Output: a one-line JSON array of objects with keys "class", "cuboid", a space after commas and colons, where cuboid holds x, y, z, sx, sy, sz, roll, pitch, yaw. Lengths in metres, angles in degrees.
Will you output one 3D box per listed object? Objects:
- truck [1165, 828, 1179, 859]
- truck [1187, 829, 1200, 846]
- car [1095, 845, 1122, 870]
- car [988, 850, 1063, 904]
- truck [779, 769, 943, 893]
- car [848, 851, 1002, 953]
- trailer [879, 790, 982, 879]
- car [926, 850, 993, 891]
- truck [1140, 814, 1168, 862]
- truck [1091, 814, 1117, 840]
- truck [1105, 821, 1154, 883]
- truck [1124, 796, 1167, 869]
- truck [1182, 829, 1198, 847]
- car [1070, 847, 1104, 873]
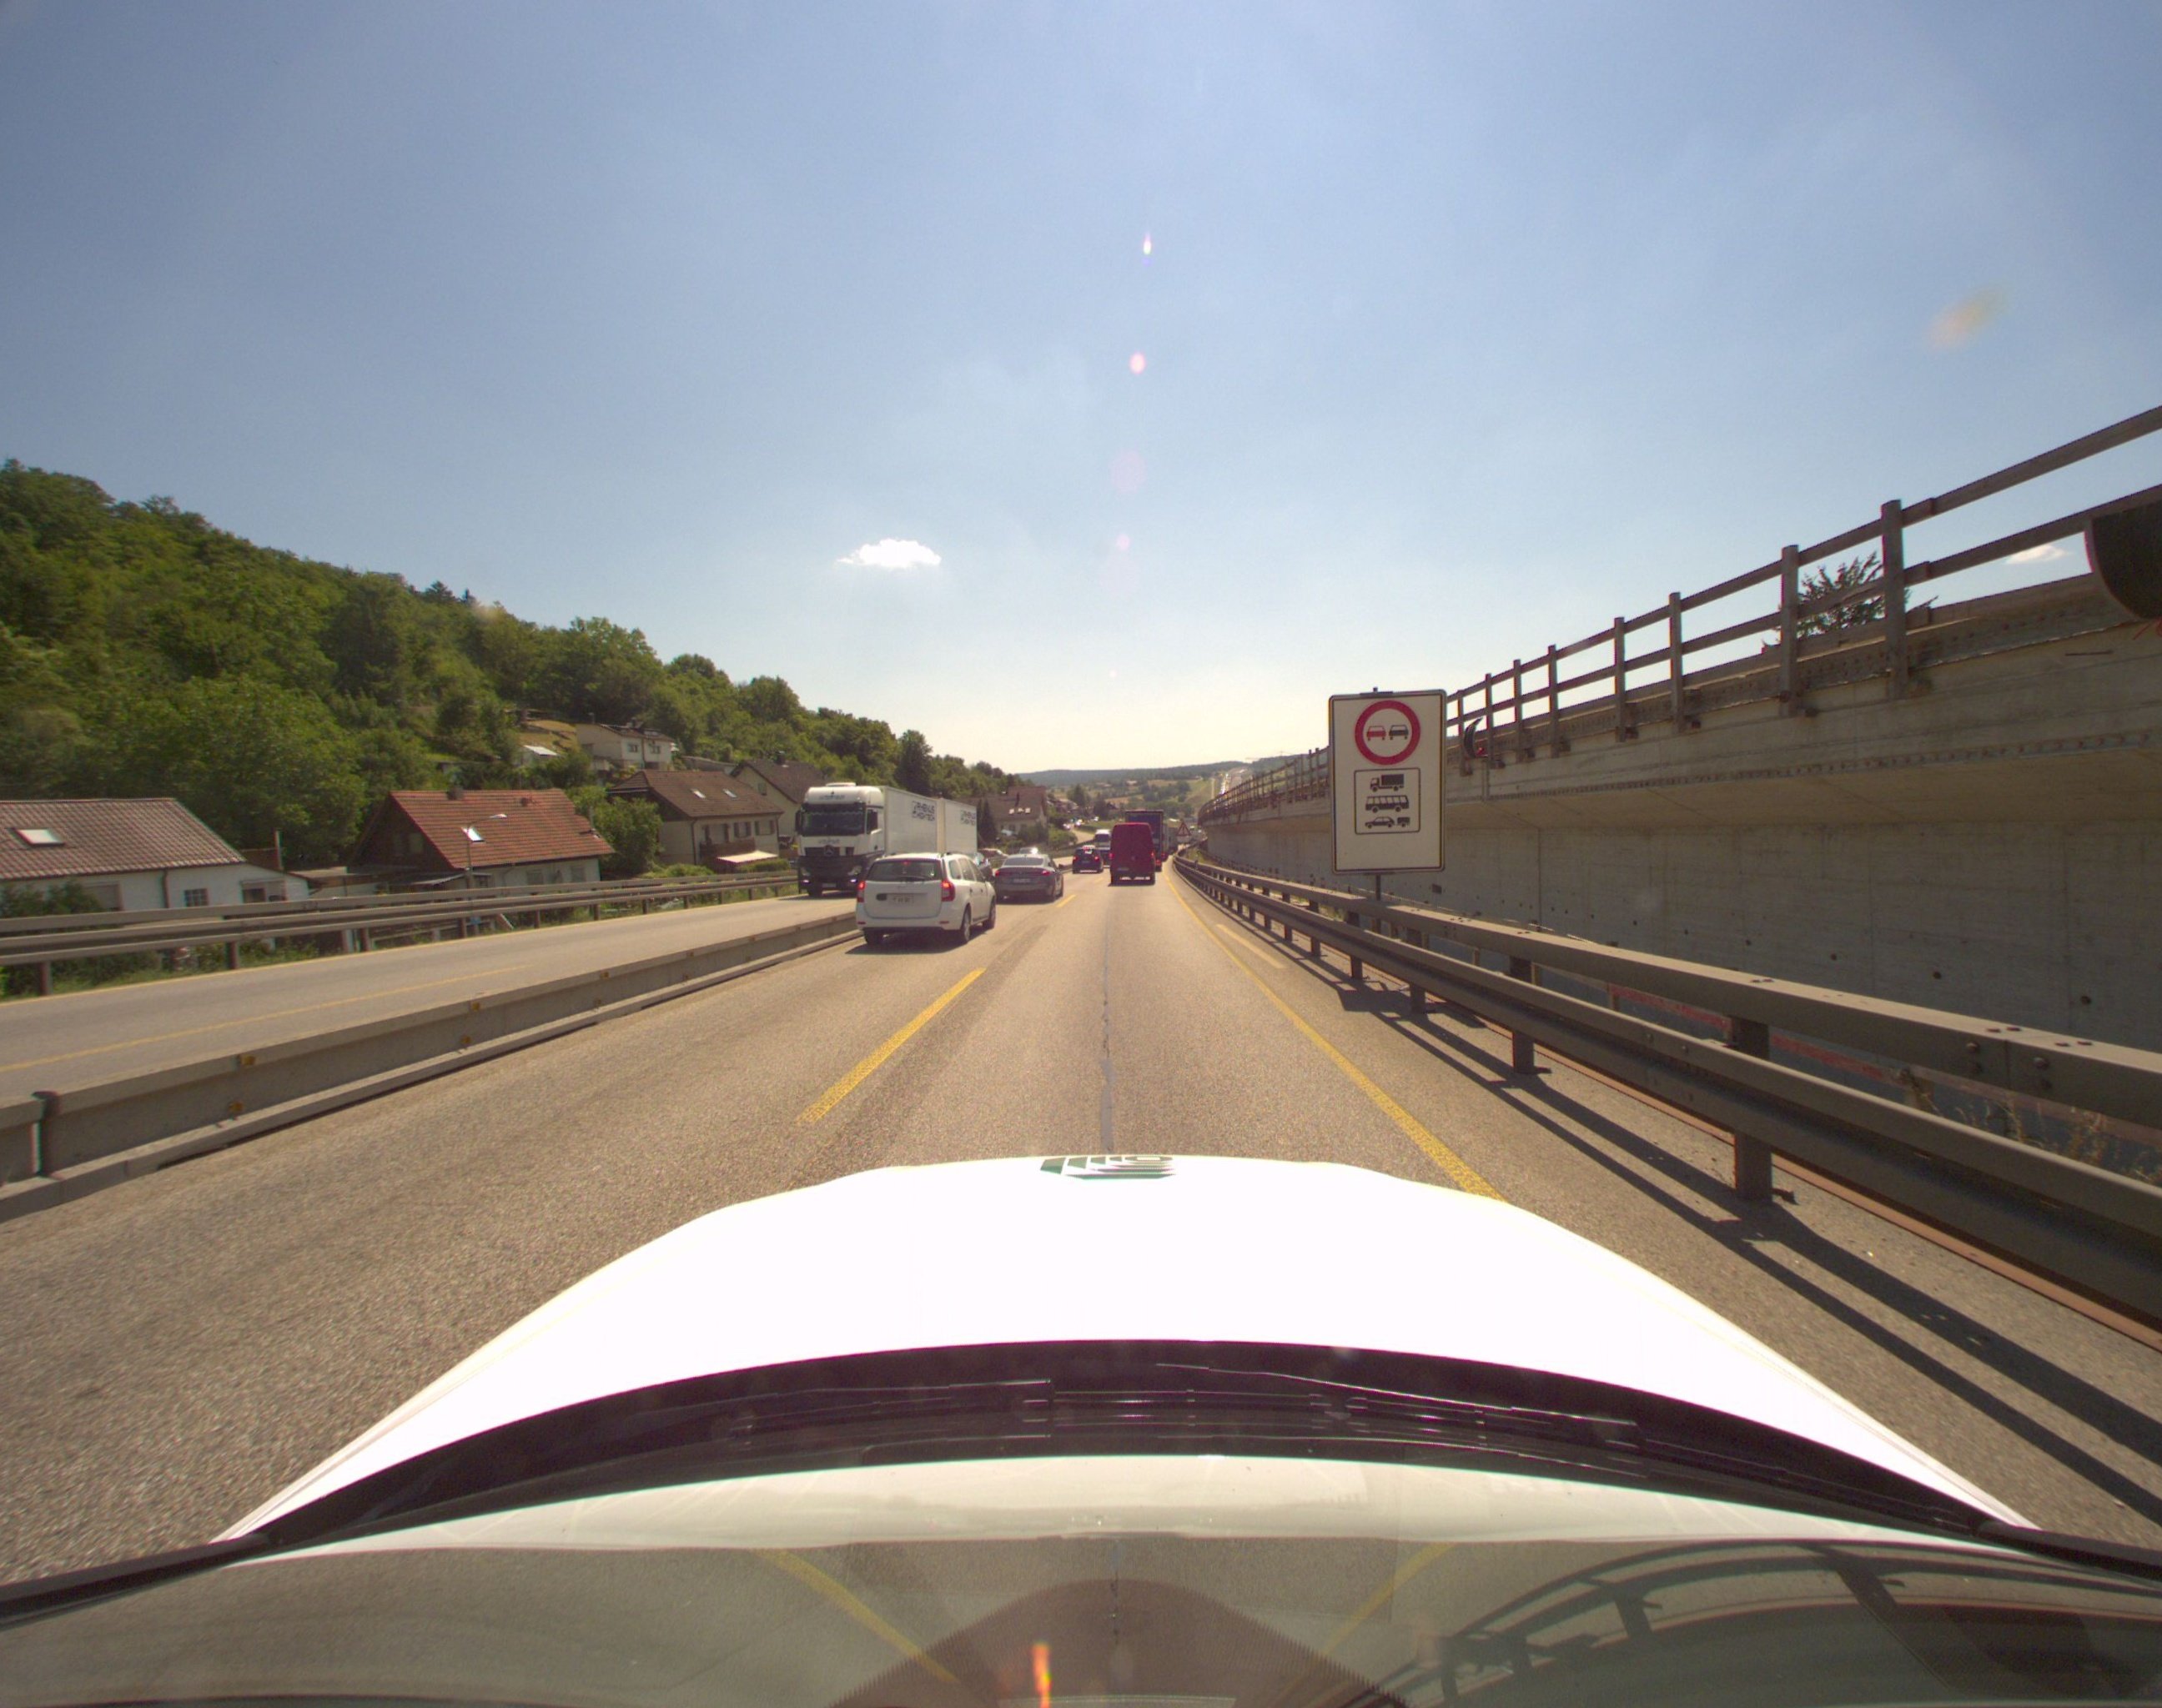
[{"class": "truck", "cuboid": [13.305, -1.468, 119.287, 1.984, 4.381, 4.005, -1, -1, 5]}, {"class": "truck", "cuboid": [31.884, -4.633, 230.732, 3.446, 4.381, 8.580, -1, -1, 10]}, {"class": "car", "cuboid": [2.238, 0.297, 65.011, 1.720, 1.838, 4.008, -1, -1, 7]}, {"class": "car", "cuboid": [-1.618, 0.653, 25.114, 1.787, 1.485, 4.053, -1, 0, 3]}, {"class": "truck", "cuboid": [-8.379, -0.821, 32.926, 2.965, 4.162, 10.558, -1, 0, 4]}, {"class": "car", "cuboid": [-2.618, 0.749, 14.664, 1.644, 1.483, 4.270, -3, -1, 3]}, {"class": "trailer", "cuboid": [-7.620, -0.932, 42.704, 2.990, 4.165, 9.028, -1, 0, 4]}, {"class": "car", "cuboid": [-4.742, 0.604, 32.444, 1.775, 1.479, 4.624, -1, 0, 2]}, {"class": "truck", "cuboid": [7.969, -1.605, 88.088, 2.772, 4.816, 9.699, -1, -1, 6]}, {"class": "truck", "cuboid": [3.718, -4.302, 131.652, 3.116, 4.079, 6.898, -1, 0, 10]}, {"class": "truck", "cuboid": [2.239, -0.066, 36.535, 1.984, 2.578, 4.006, -1, -1, 6]}, {"class": "truck", "cuboid": [4.765, -1.350, 59.253, 2.772, 4.816, 9.699, -1, -1, 6]}, {"class": "truck", "cuboid": [28.250, -4.185, 210.496, 3.048, 4.381, 8.587, -1, -1, 13]}, {"class": "car", "cuboid": [0.407, 0.413, 52.365, 1.801, 1.608, 3.725, -1, -1, 6]}]
